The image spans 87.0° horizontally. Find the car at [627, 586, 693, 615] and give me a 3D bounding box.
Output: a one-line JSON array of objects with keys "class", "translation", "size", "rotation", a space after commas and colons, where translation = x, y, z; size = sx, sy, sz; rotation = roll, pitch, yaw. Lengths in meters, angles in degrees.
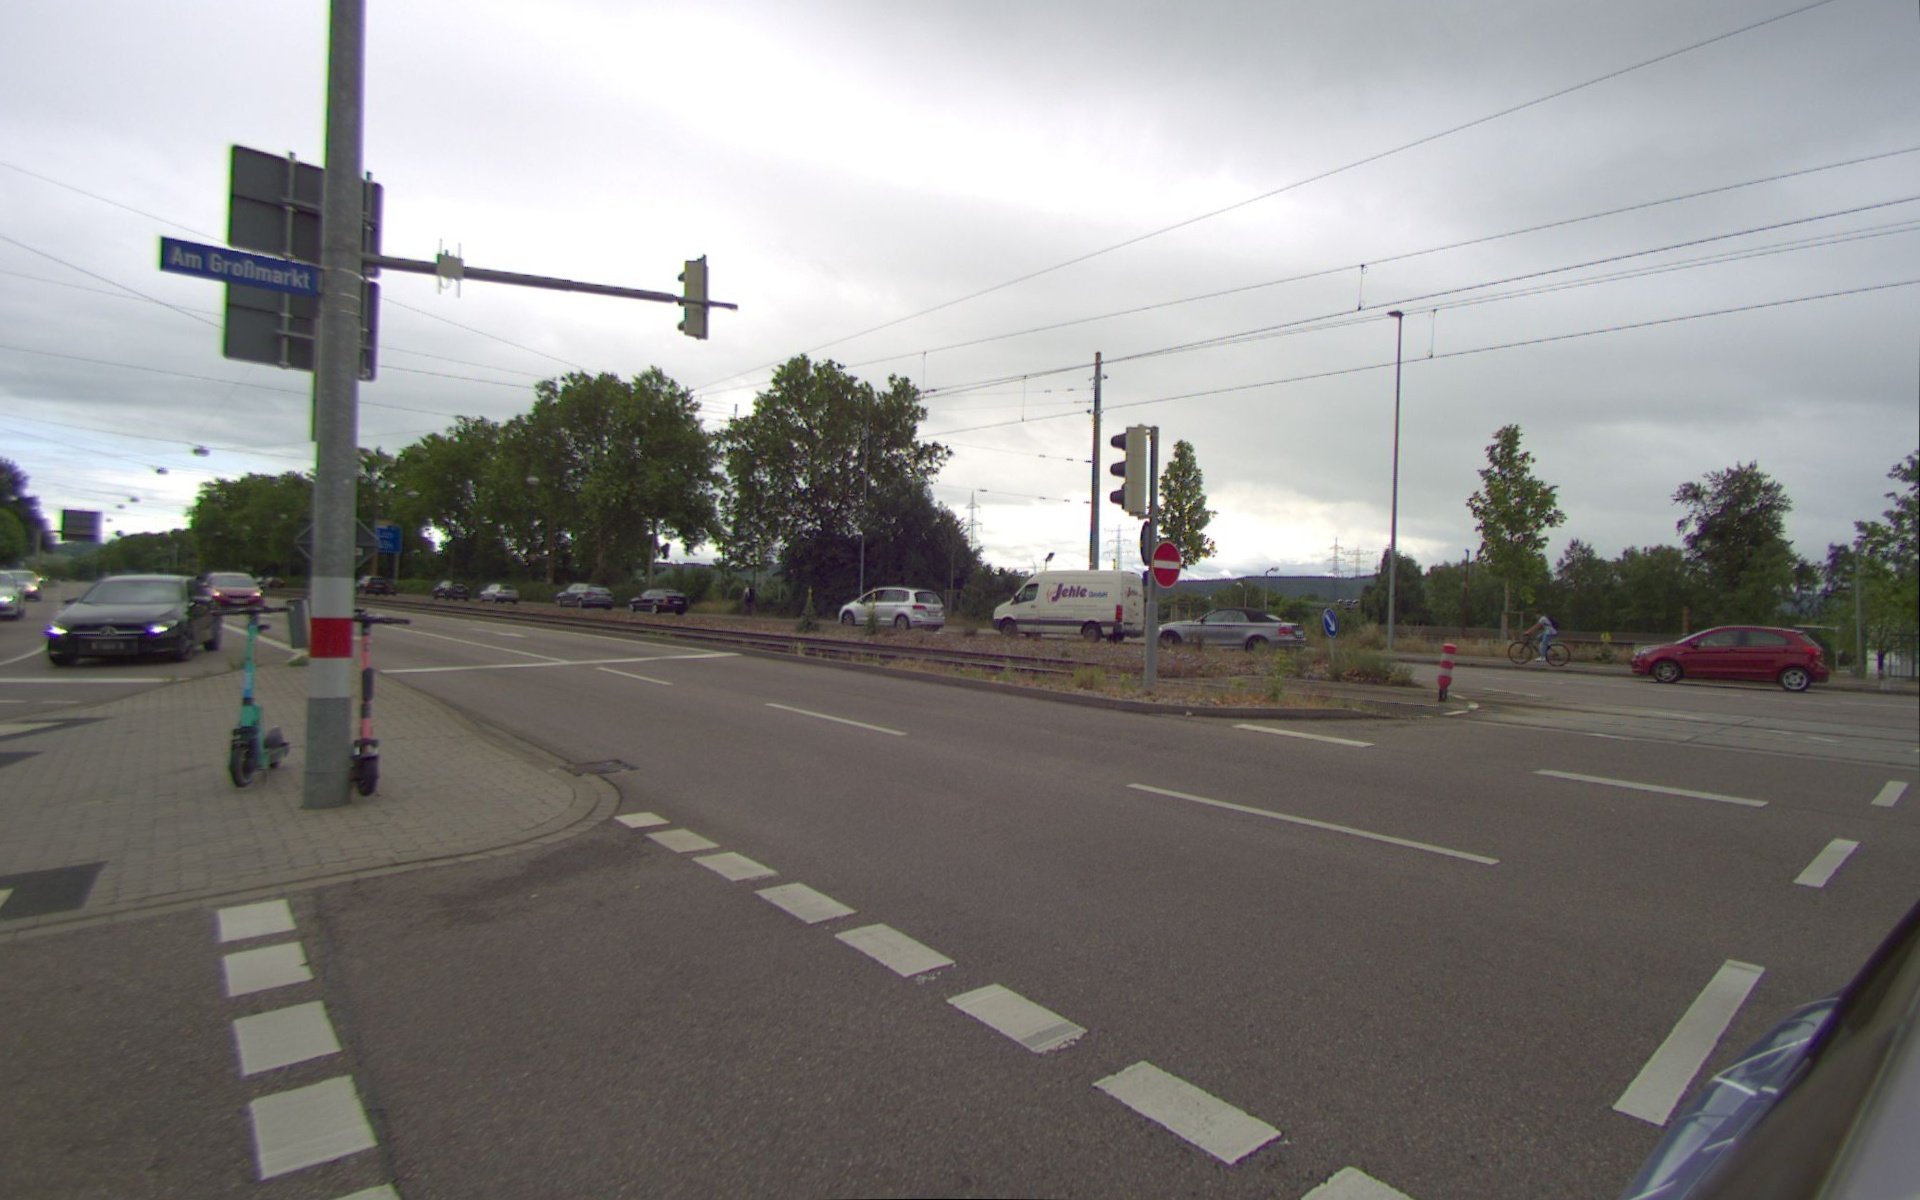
[{"class": "car", "translation": [-16.672, 0.041, 56.144], "size": [1.711, 1.498, 4.309], "rotation": [4, -3, -43]}]

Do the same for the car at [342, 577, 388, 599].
[{"class": "car", "translation": [-47.934, -0.985, 81.461], "size": [4.297, 1.657, 1.811], "rotation": [2, -1, 40]}]

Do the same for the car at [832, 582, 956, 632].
[{"class": "car", "translation": [-2.370, 0.226, 35.844], "size": [4.179, 1.572, 1.835], "rotation": [2, -1, 38]}]

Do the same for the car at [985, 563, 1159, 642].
[{"class": "car", "translation": [4.097, 0.077, 37.626], "size": [5.868, 2.659, 2.628], "rotation": [2, -2, 38]}]

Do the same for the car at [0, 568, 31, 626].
[{"class": "car", "translation": [-28.008, -0.143, 29.119], "size": [1.703, 1.558, 4.039], "rotation": [4, -2, -41]}]

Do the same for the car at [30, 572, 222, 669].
[{"class": "car", "translation": [-14.324, 0.303, 17.652], "size": [1.800, 1.482, 4.212], "rotation": [1, 0, -29]}]

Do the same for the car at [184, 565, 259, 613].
[{"class": "car", "translation": [-28.942, -0.434, 39.632], "size": [1.966, 1.749, 3.992], "rotation": [1, 0, -42]}]

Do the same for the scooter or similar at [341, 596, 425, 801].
[{"class": "scooter or similar", "translation": [-3.948, 0.619, 6.963], "size": [0.455, 1.271, 1.020], "rotation": [-1, 1, -28]}]

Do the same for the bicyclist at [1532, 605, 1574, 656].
[{"class": "bicyclist", "translation": [18.039, 0.924, 30.795], "size": [0.964, 1.471, 0.682], "rotation": [2, 2, 40]}]

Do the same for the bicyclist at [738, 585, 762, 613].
[{"class": "bicyclist", "translation": [-11.525, -0.047, 55.464], "size": [0.997, 1.497, 0.806], "rotation": [3, 1, 43]}]

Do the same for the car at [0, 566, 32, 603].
[{"class": "car", "translation": [-45.604, -0.733, 48.343], "size": [1.718, 1.622, 4.065], "rotation": [4, -3, -44]}]

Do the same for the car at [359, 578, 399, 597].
[{"class": "car", "translation": [-54.579, -1.172, 95.057], "size": [4.297, 1.582, 1.835], "rotation": [1, -3, 40]}]

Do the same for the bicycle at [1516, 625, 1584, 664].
[{"class": "bicycle", "translation": [17.995, 1.337, 30.890], "size": [1.702, 1.058, 0.541], "rotation": [3, 2, 41]}]

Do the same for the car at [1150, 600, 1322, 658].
[{"class": "car", "translation": [7.781, 0.805, 28.755], "size": [4.322, 1.408, 1.850], "rotation": [2, -1, 39]}]

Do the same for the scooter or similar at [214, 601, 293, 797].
[{"class": "scooter or similar", "translation": [-5.038, 0.654, 7.249], "size": [0.314, 1.271, 1.117], "rotation": [-1, 1, -28]}]

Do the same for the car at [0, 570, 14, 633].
[{"class": "car", "translation": [-23.172, 0.043, 22.951], "size": [1.932, 1.482, 4.321], "rotation": [1, 0, -36]}]

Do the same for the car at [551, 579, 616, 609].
[{"class": "car", "translation": [-20.084, -0.324, 53.911], "size": [1.714, 1.419, 4.066], "rotation": [4, -1, -45]}]

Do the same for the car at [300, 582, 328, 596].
[{"class": "car", "translation": [-70.696, -1.187, 110.732], "size": [3.661, 1.500, 1.791], "rotation": [0, -3, 45]}]

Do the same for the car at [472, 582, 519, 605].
[{"class": "car", "translation": [-33.919, -0.466, 73.865], "size": [3.617, 1.528, 1.707], "rotation": [2, -2, 41]}]

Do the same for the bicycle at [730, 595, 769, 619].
[{"class": "bicycle", "translation": [-11.550, 0.372, 55.526], "size": [2.514, 1.200, 0.806], "rotation": [3, 2, 43]}]

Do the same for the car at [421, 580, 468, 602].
[{"class": "car", "translation": [-41.262, -0.741, 80.972], "size": [4.299, 1.582, 1.834], "rotation": [1, -3, 42]}]

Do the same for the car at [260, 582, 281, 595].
[{"class": "car", "translation": [-84.153, -1.409, 123.540], "size": [1.721, 1.449, 3.371], "rotation": [4, -2, -40]}]

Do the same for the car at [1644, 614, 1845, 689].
[{"class": "car", "translation": [19.089, 1.224, 24.777], "size": [3.752, 1.581, 1.632], "rotation": [2, -2, 39]}]
